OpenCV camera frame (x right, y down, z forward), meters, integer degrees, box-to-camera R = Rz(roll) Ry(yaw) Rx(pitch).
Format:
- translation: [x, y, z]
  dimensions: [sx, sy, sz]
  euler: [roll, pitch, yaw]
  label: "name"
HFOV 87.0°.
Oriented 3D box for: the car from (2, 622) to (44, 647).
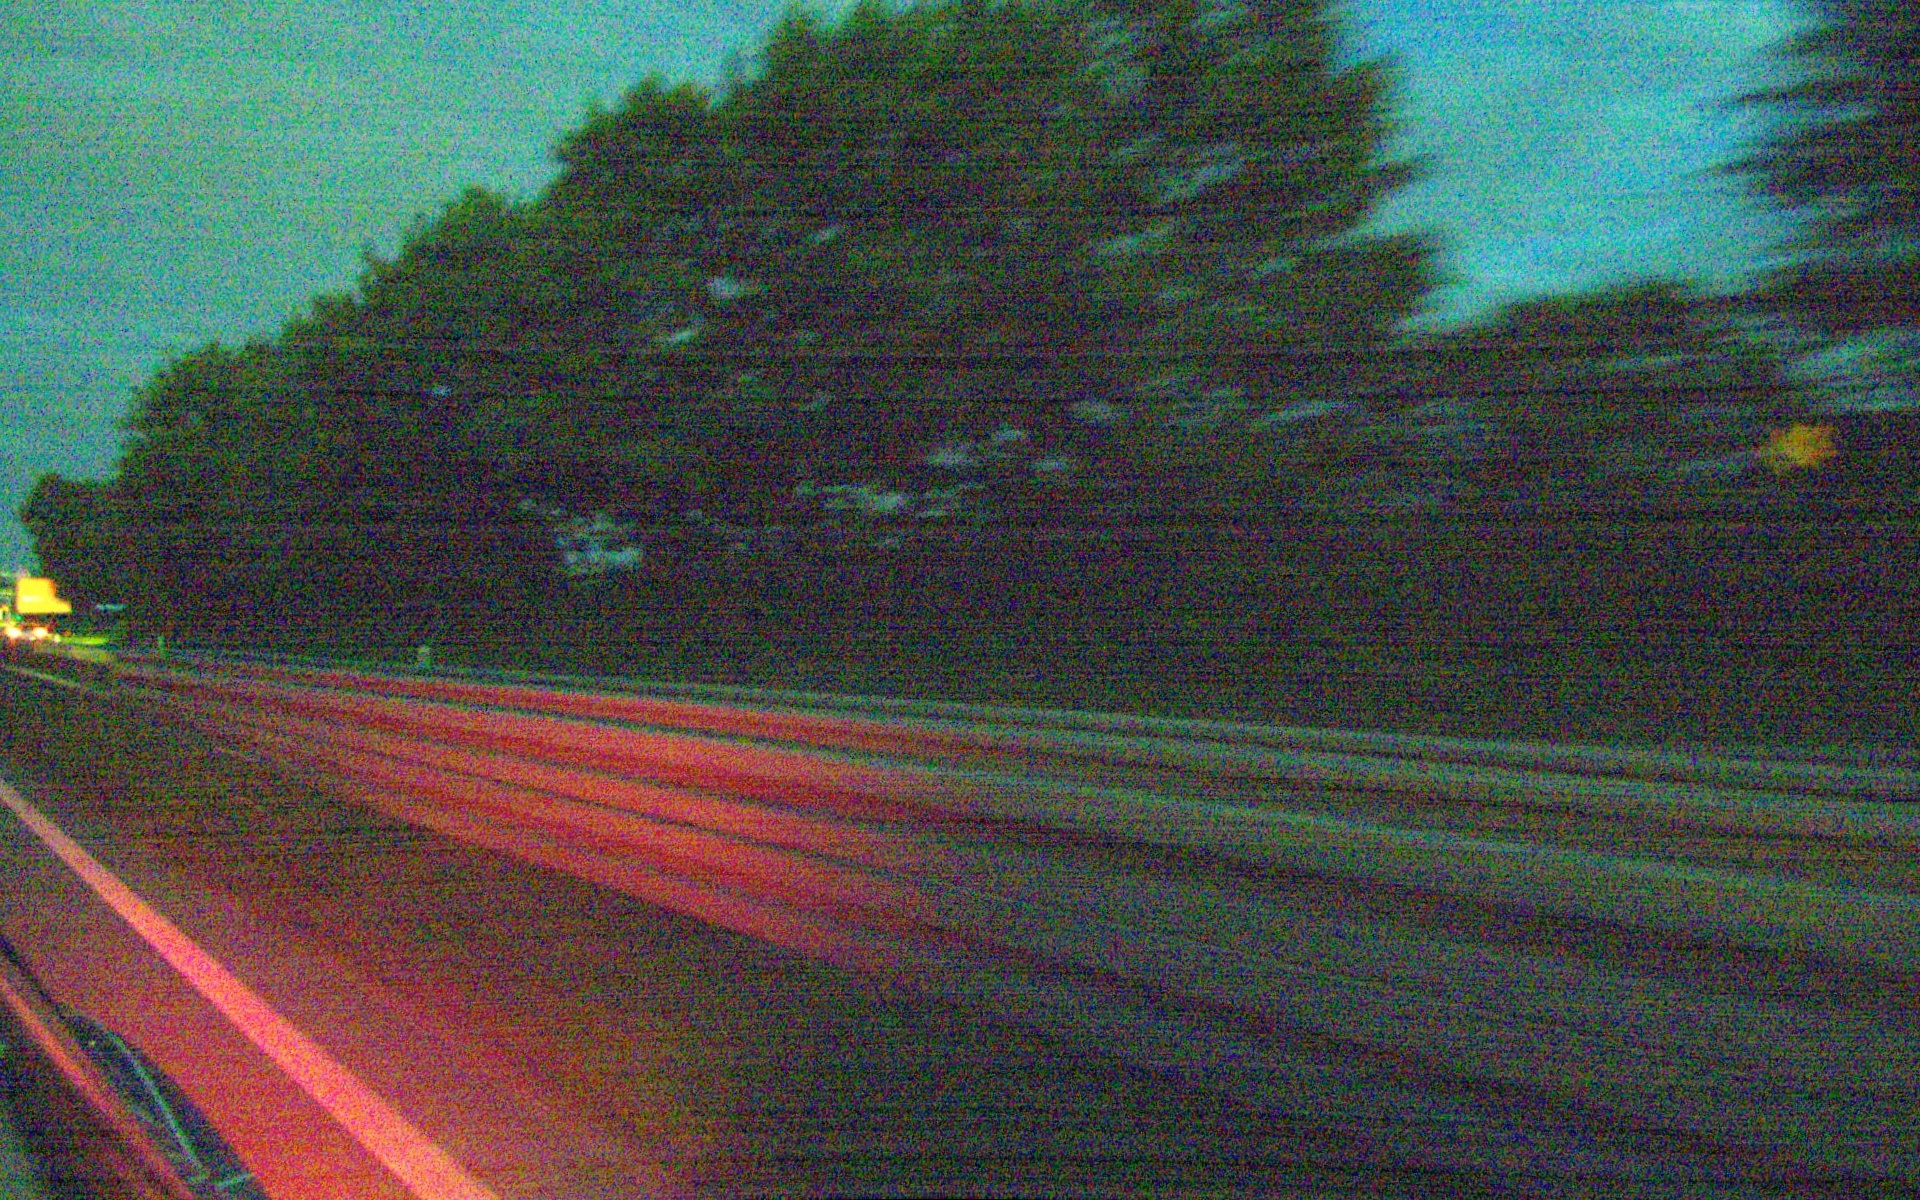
- translation: [-61.316, 2.213, 66.227]
  dimensions: [3.867, 1.518, 1.600]
  euler: [-1, 0, 41]
  label: "car"
